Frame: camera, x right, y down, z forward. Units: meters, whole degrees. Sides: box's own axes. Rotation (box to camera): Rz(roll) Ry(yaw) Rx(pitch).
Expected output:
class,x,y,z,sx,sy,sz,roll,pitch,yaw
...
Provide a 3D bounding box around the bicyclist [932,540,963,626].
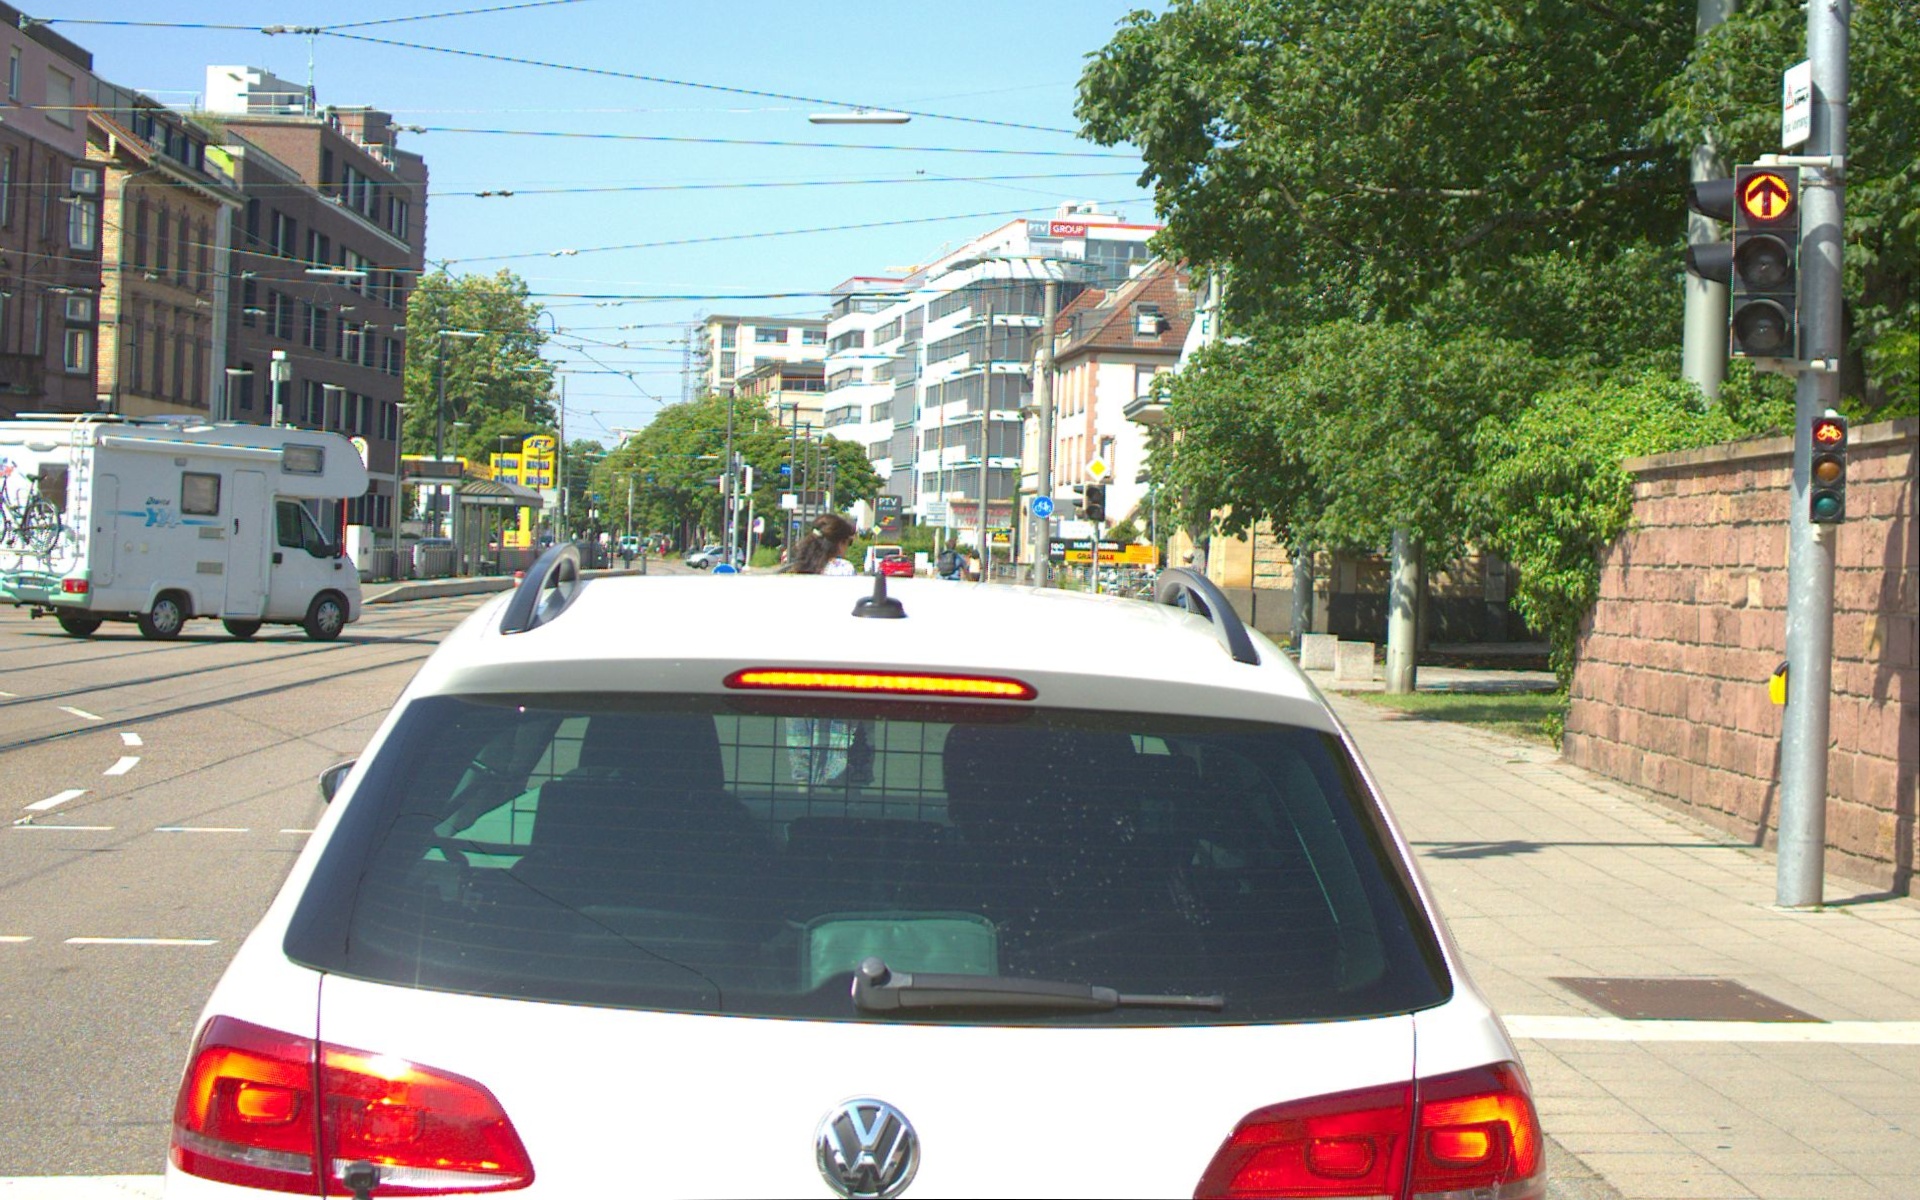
class,x,y,z,sx,sy,sz,roll,pitch,yaw
bicyclist,-0.235,-0.318,64.760,0.561,1.607,0.638,0,0,1

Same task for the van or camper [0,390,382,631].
class,x,y,z,sx,sy,sz,roll,pitch,yaw
van or camper,-10.935,-1.146,47.033,2.573,3.082,5.690,0,0,39

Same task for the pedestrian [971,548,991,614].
class,x,y,z,sx,sy,sz,roll,pitch,yaw
pedestrian,0.736,-0.664,120.496,0.690,2.317,1.232,0,0,1

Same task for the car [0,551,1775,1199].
class,x,y,z,sx,sy,sz,roll,pitch,yaw
car,-0.140,0.680,5.444,1.808,1.443,4.000,2,1,-1

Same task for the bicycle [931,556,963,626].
class,x,y,z,sx,sy,sz,roll,pitch,yaw
bicycle,-0.234,-0.158,64.771,0.558,1.293,2.249,0,0,1

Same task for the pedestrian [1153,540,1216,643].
class,x,y,z,sx,sy,sz,roll,pitch,yaw
pedestrian,3.833,-0.149,58.650,0.861,1.737,0.975,0,0,-10

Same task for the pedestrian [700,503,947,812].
class,x,y,z,sx,sy,sz,roll,pitch,yaw
pedestrian,-0.752,0.305,18.985,0.955,1.645,0.973,0,0,39
